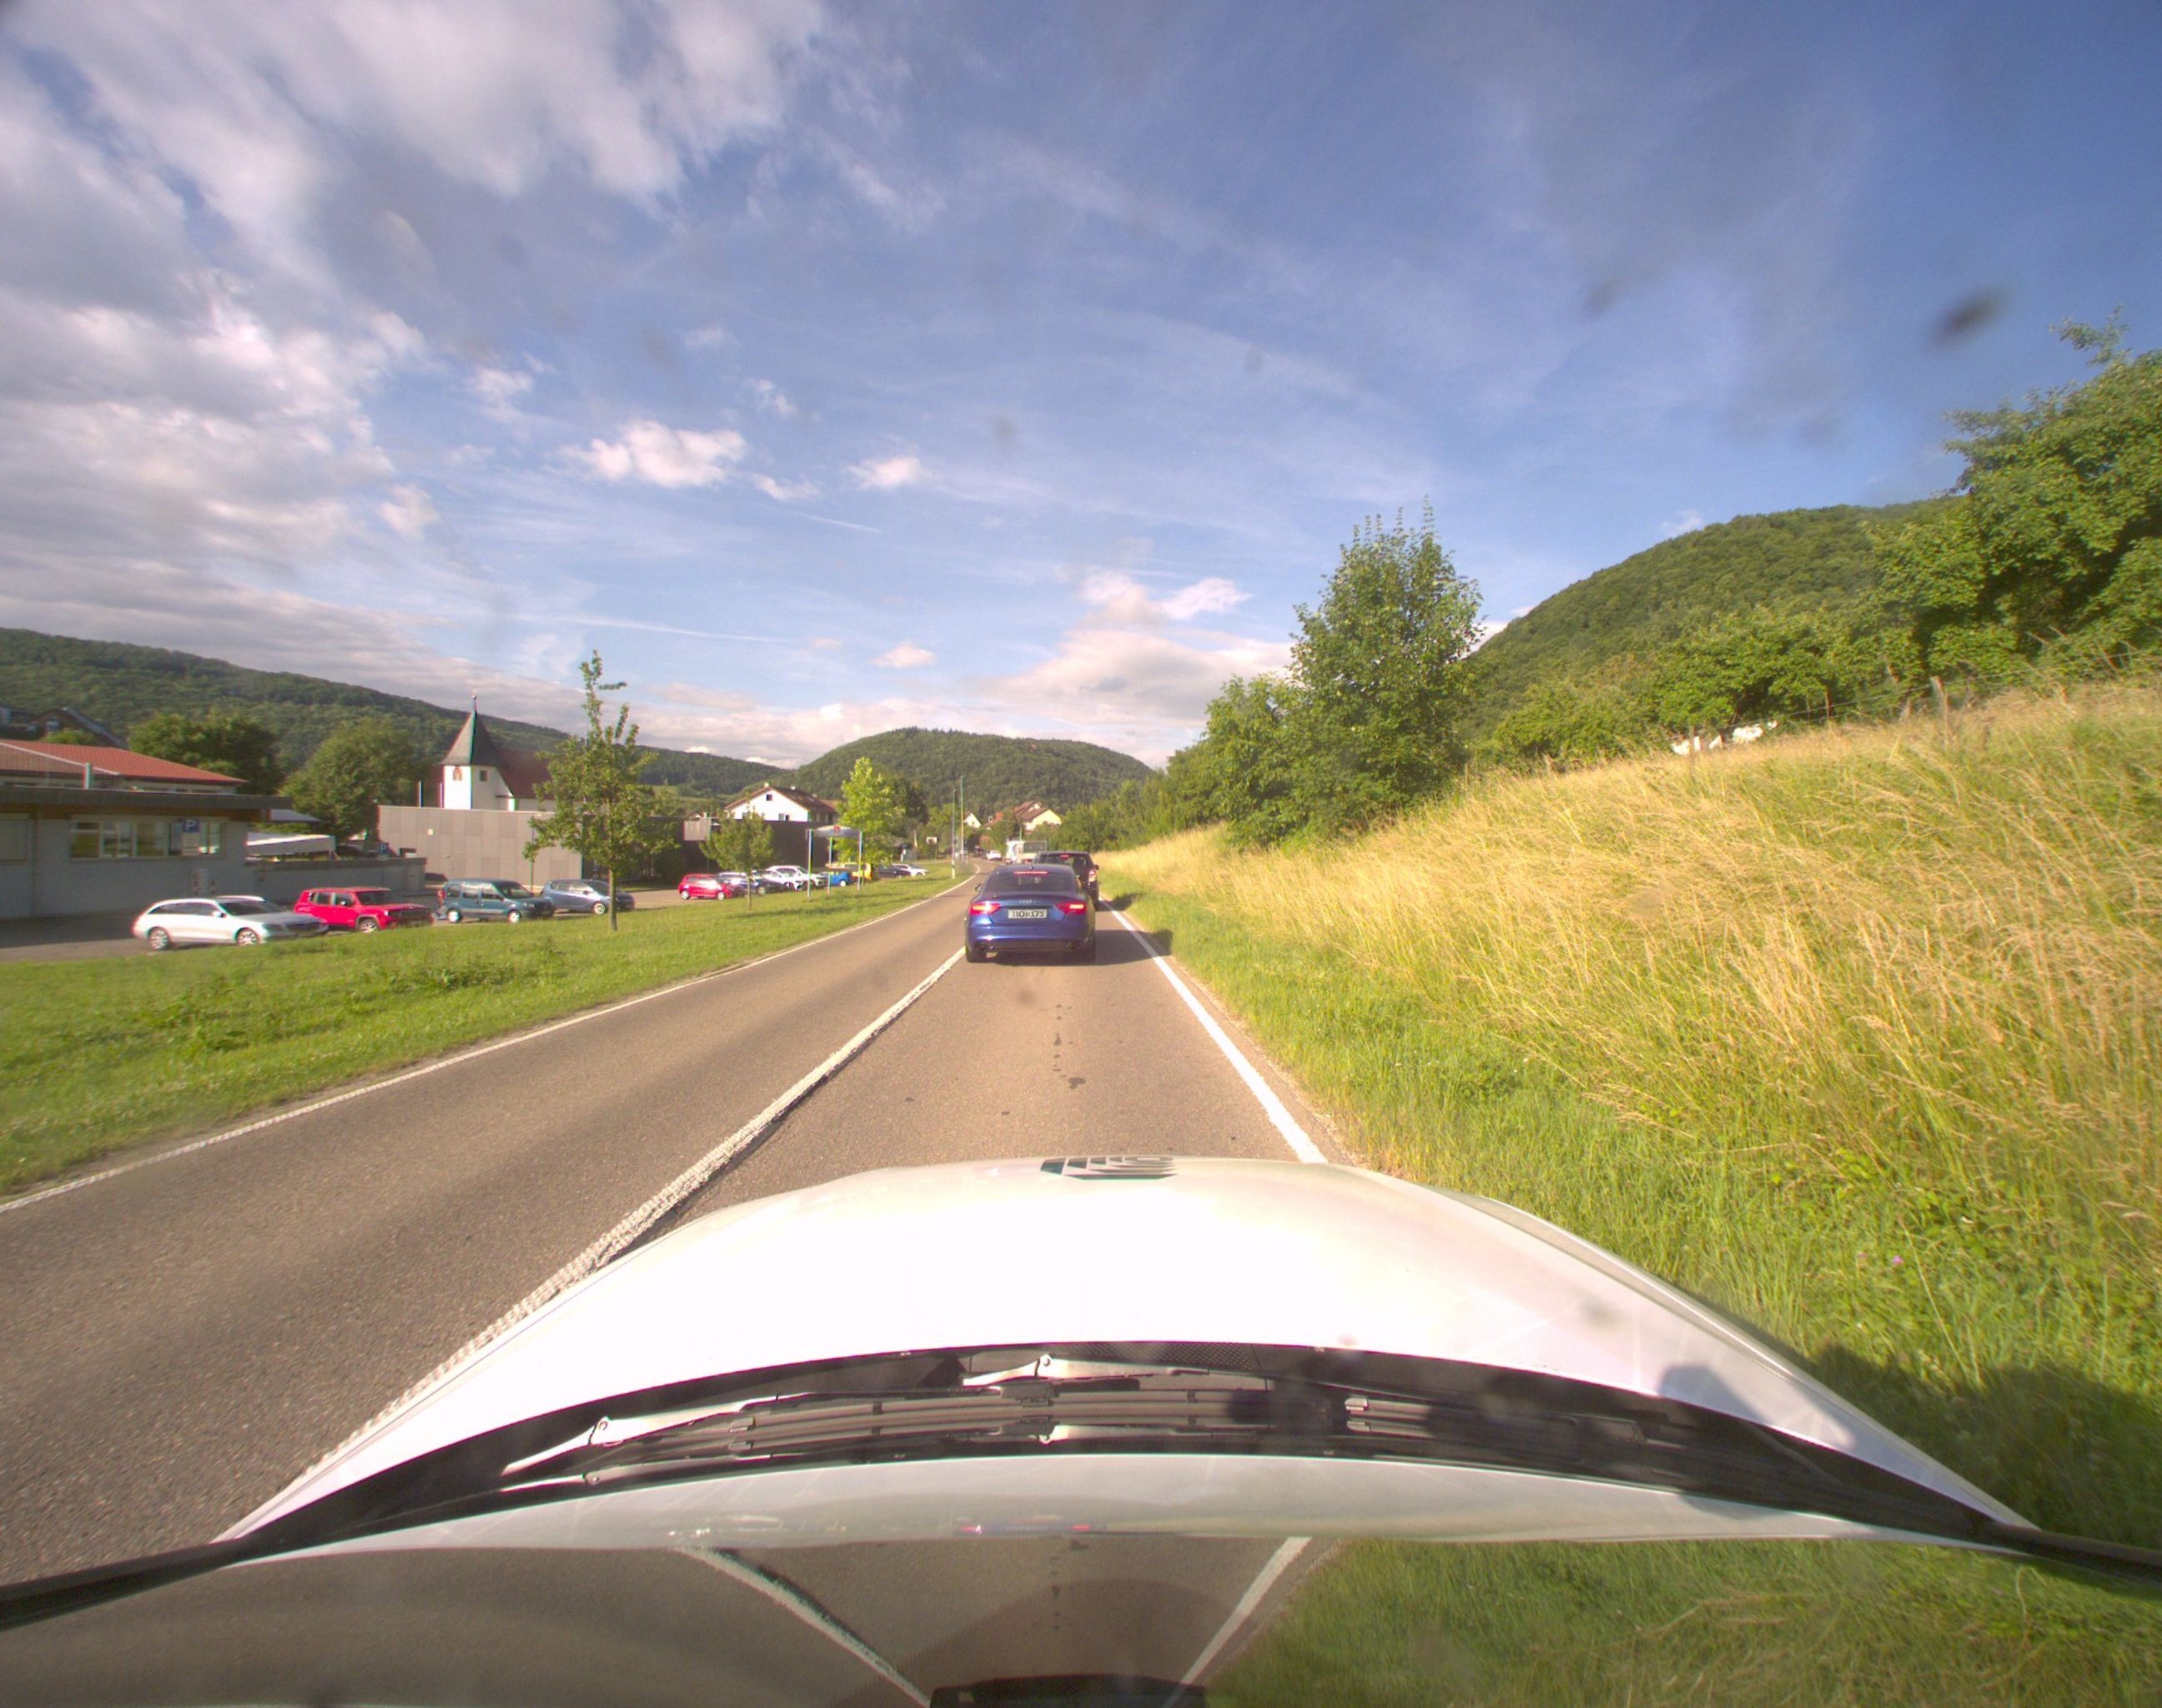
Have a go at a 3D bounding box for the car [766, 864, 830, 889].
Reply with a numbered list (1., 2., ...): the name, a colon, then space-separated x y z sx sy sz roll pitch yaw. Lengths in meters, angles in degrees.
1. car: -20.570 1.623 59.330 4.054 1.673 1.600 -2 0 8

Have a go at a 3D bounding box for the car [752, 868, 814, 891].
1. car: -20.539 1.735 56.096 3.645 1.494 1.600 -1 -1 8

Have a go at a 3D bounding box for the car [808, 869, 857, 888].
1. car: -19.927 1.961 65.385 3.358 1.373 1.660 -2 0 0

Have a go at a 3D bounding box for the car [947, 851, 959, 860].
1. car: -28.180 0.274 179.006 1.961 1.924 3.974 -1 0 -19

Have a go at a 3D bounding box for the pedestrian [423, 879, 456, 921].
1. pedestrian: -26.709 1.921 33.922 0.792 1.693 0.705 0 -1 -1

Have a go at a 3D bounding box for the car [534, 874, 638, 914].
1. car: -22.915 1.842 37.785 3.797 1.722 1.735 -1 0 7

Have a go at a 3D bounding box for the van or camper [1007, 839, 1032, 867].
1. van or camper: -6.399 -0.048 84.309 2.279 2.714 5.752 -2 0 -8

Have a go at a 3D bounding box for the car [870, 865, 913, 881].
1. car: -18.115 1.800 77.893 3.691 1.439 1.513 -2 0 8

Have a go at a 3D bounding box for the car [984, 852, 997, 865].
1. car: -13.831 0.701 124.763 1.660 1.924 3.985 -2 0 -11

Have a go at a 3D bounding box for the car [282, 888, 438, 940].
1. car: -24.330 2.012 27.554 3.898 1.579 1.759 -1 0 7

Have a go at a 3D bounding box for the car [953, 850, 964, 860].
1. car: -25.498 0.269 168.948 1.681 1.924 3.977 -1 0 -16

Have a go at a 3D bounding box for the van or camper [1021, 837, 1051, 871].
1. van or camper: -3.610 0.031 64.122 2.049 2.505 5.799 -2 0 -6

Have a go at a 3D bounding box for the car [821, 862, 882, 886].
1. car: -19.131 1.637 67.981 4.527 1.815 1.845 -2 0 8

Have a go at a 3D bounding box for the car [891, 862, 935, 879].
1. car: -17.016 1.659 82.449 4.013 1.660 1.659 -2 0 8

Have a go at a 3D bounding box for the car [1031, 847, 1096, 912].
1. car: -0.456 0.642 22.364 1.641 1.625 3.515 1 0 -1

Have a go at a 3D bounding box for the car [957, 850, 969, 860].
1. car: -23.221 0.245 160.534 1.681 1.924 3.976 -1 0 -17

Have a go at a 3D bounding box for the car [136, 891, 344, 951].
1. car: -25.557 2.017 24.840 4.615 1.589 2.004 -1 0 7

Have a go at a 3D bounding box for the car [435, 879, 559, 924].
1. car: -23.782 1.920 33.247 3.843 1.722 1.758 0 0 5

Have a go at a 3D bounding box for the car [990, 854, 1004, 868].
1. car: -12.062 1.040 116.850 1.659 1.924 3.987 -2 0 -9

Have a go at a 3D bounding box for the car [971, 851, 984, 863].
1. car: -18.307 0.516 143.803 1.680 1.924 3.979 -1 0 -15

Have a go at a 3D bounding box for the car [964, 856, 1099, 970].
1. car: -0.669 0.766 12.277 1.737 1.450 3.515 0 0 -1

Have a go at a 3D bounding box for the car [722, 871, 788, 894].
1. car: -21.143 1.836 52.913 3.604 1.405 1.600 -2 -2 8

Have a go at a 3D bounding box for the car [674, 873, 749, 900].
1. car: -21.711 1.915 47.893 3.604 1.444 1.652 -2 0 8
